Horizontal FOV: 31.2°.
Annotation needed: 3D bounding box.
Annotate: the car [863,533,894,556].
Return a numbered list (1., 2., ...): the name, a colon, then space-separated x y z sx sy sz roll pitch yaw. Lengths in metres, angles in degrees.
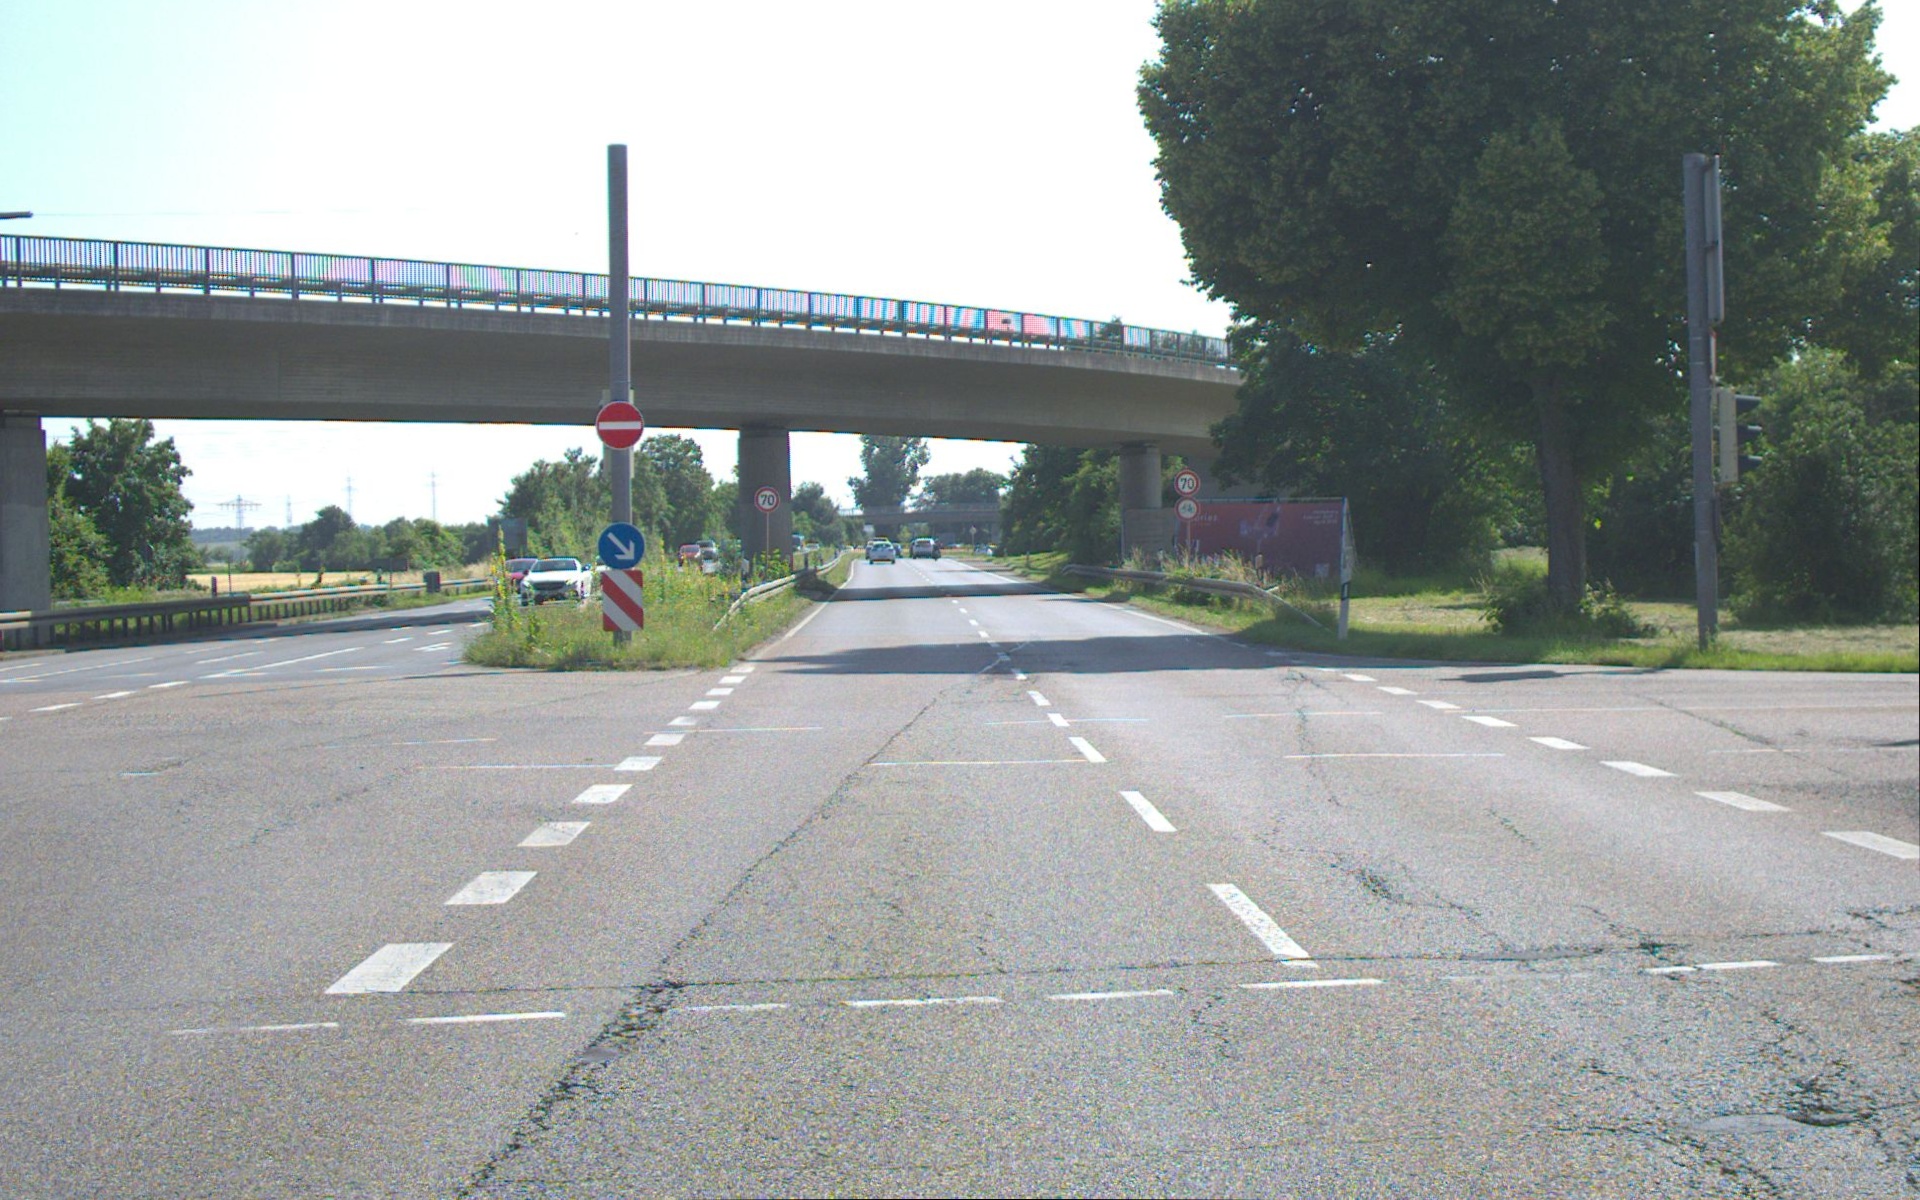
1. car: -5.408 -3.695 228.771 1.851 1.456 4.000 -3 1 1

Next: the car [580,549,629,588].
1. car: -15.596 -1.409 151.084 1.790 1.622 4.000 -2 1 -2

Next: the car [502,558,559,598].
1. car: -15.869 -0.816 127.107 1.640 1.380 4.241 -2 1 -1

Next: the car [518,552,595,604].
1. car: -12.383 -0.685 105.718 1.856 1.443 4.241 -3 1 -1
